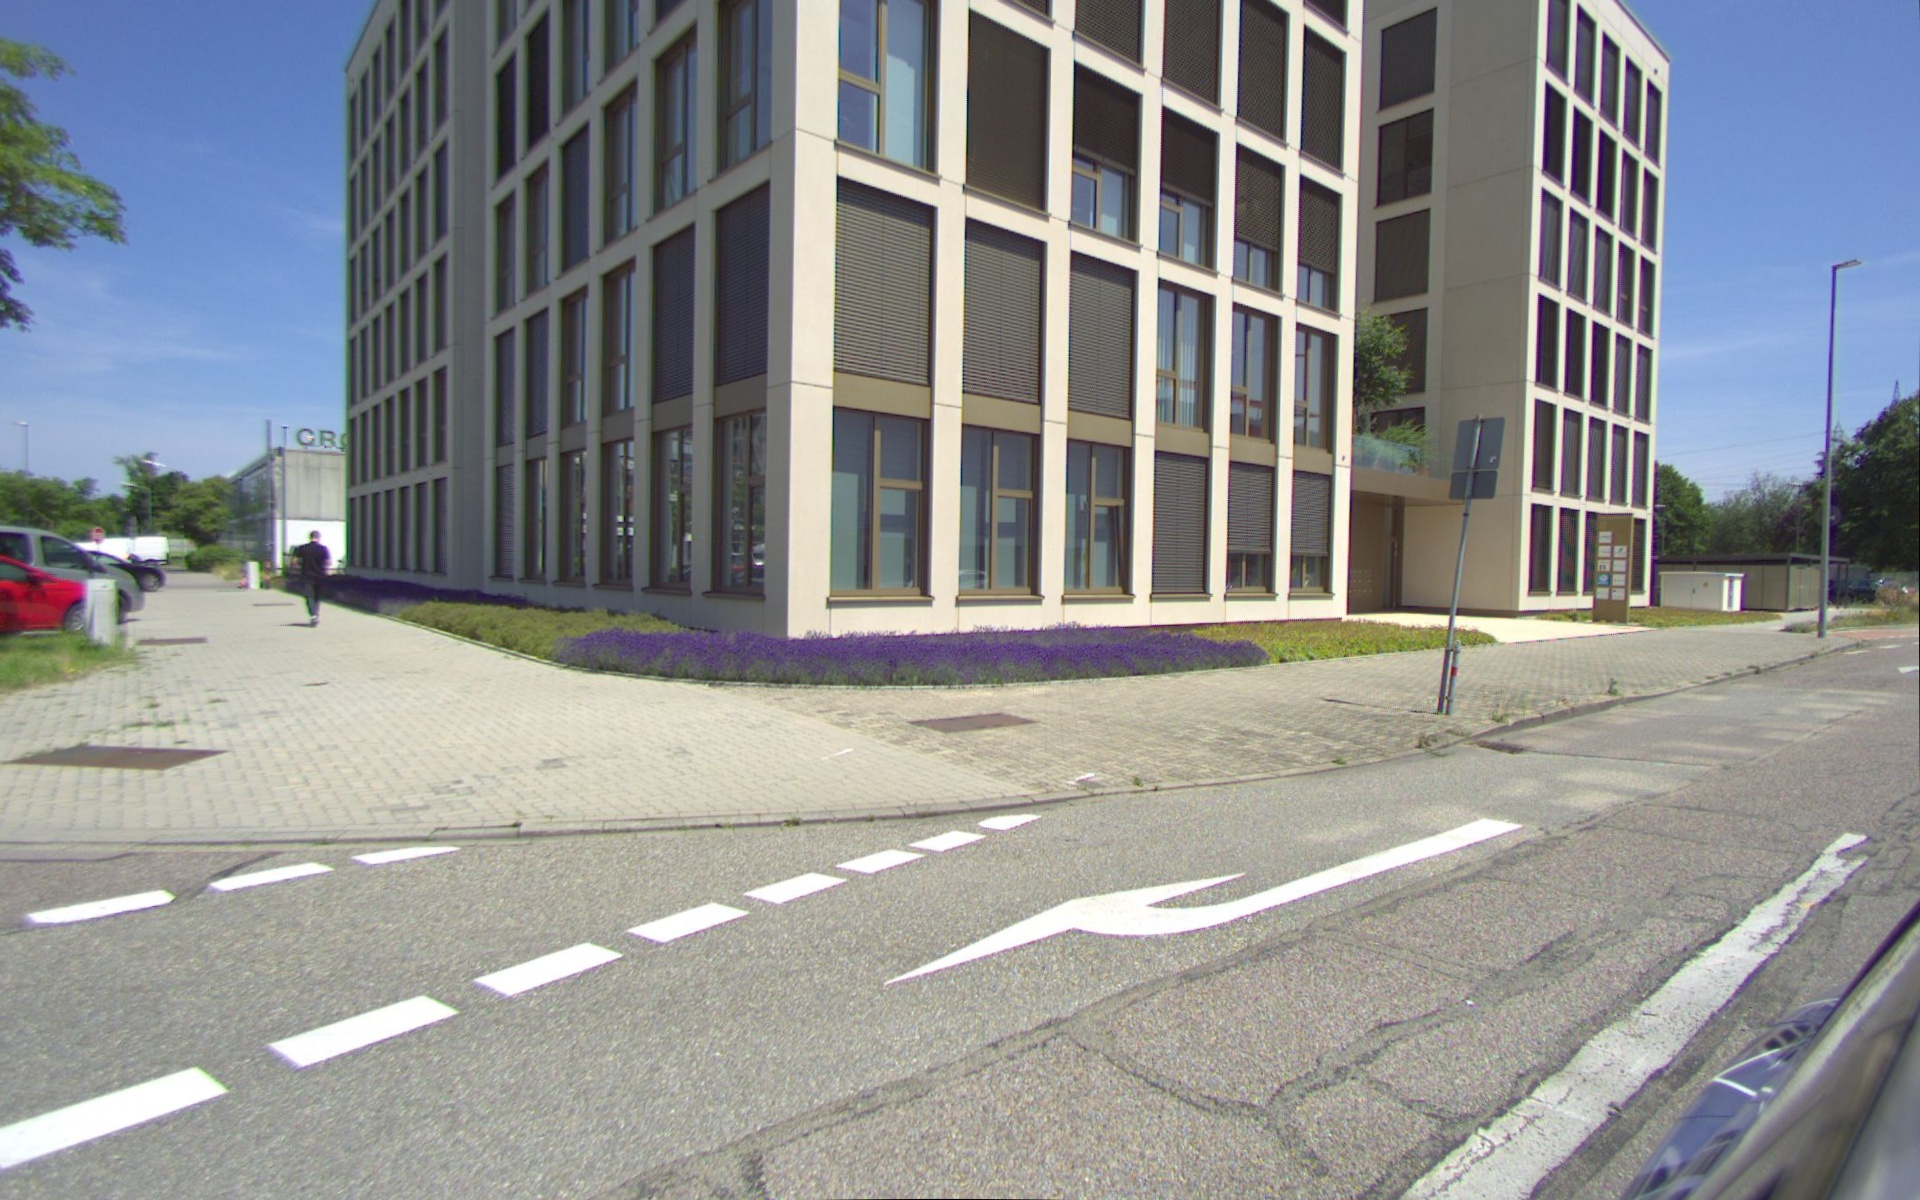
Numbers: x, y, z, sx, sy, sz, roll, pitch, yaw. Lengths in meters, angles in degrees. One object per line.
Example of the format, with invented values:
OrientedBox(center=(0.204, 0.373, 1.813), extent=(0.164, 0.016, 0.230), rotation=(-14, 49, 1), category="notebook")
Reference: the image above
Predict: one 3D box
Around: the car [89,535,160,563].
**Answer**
OrientedBox(center=(-67.499, -4.093, 81.850), extent=(4.280, 2.146, 2.094), rotation=(0, 2, -37), category="car")

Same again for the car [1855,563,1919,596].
OrientedBox(center=(59.203, -1.295, 63.559), extent=(3.958, 1.977, 1.984), rotation=(2, 2, 25), category="car")

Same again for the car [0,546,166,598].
OrientedBox(center=(-29.109, -0.976, 33.498), extent=(1.792, 1.557, 4.131), rotation=(0, 3, 19), category="car")

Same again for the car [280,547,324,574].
OrientedBox(center=(-37.932, -2.288, 58.315), extent=(1.758, 1.540, 3.574), rotation=(-1, 3, -39), category="car")

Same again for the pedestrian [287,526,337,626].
OrientedBox(center=(-12.429, -0.473, 19.443), extent=(0.758, 1.867, 0.869), rotation=(-1, 3, -32), category="pedestrian")

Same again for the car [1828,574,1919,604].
OrientedBox(center=(55.703, -0.718, 61.579), extent=(3.960, 1.682, 1.822), rotation=(2, 3, 26), category="car")

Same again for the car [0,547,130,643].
OrientedBox(center=(-15.374, -0.085, 15.576), extent=(1.584, 1.452, 3.991), rotation=(1, 2, 9), category="car")

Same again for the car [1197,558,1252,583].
OrientedBox(center=(21.089, -2.353, 80.644), extent=(3.921, 1.874, 2.002), rotation=(0, 2, -31), category="car")

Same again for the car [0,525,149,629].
OrientedBox(center=(-17.761, -0.436, 18.429), extent=(1.676, 1.838, 4.899), rotation=(1, 2, 7), category="car")

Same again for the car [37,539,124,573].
OrientedBox(center=(-54.962, -2.725, 63.341), extent=(3.925, 2.038, 2.000), rotation=(0, 2, -36), category="car")
